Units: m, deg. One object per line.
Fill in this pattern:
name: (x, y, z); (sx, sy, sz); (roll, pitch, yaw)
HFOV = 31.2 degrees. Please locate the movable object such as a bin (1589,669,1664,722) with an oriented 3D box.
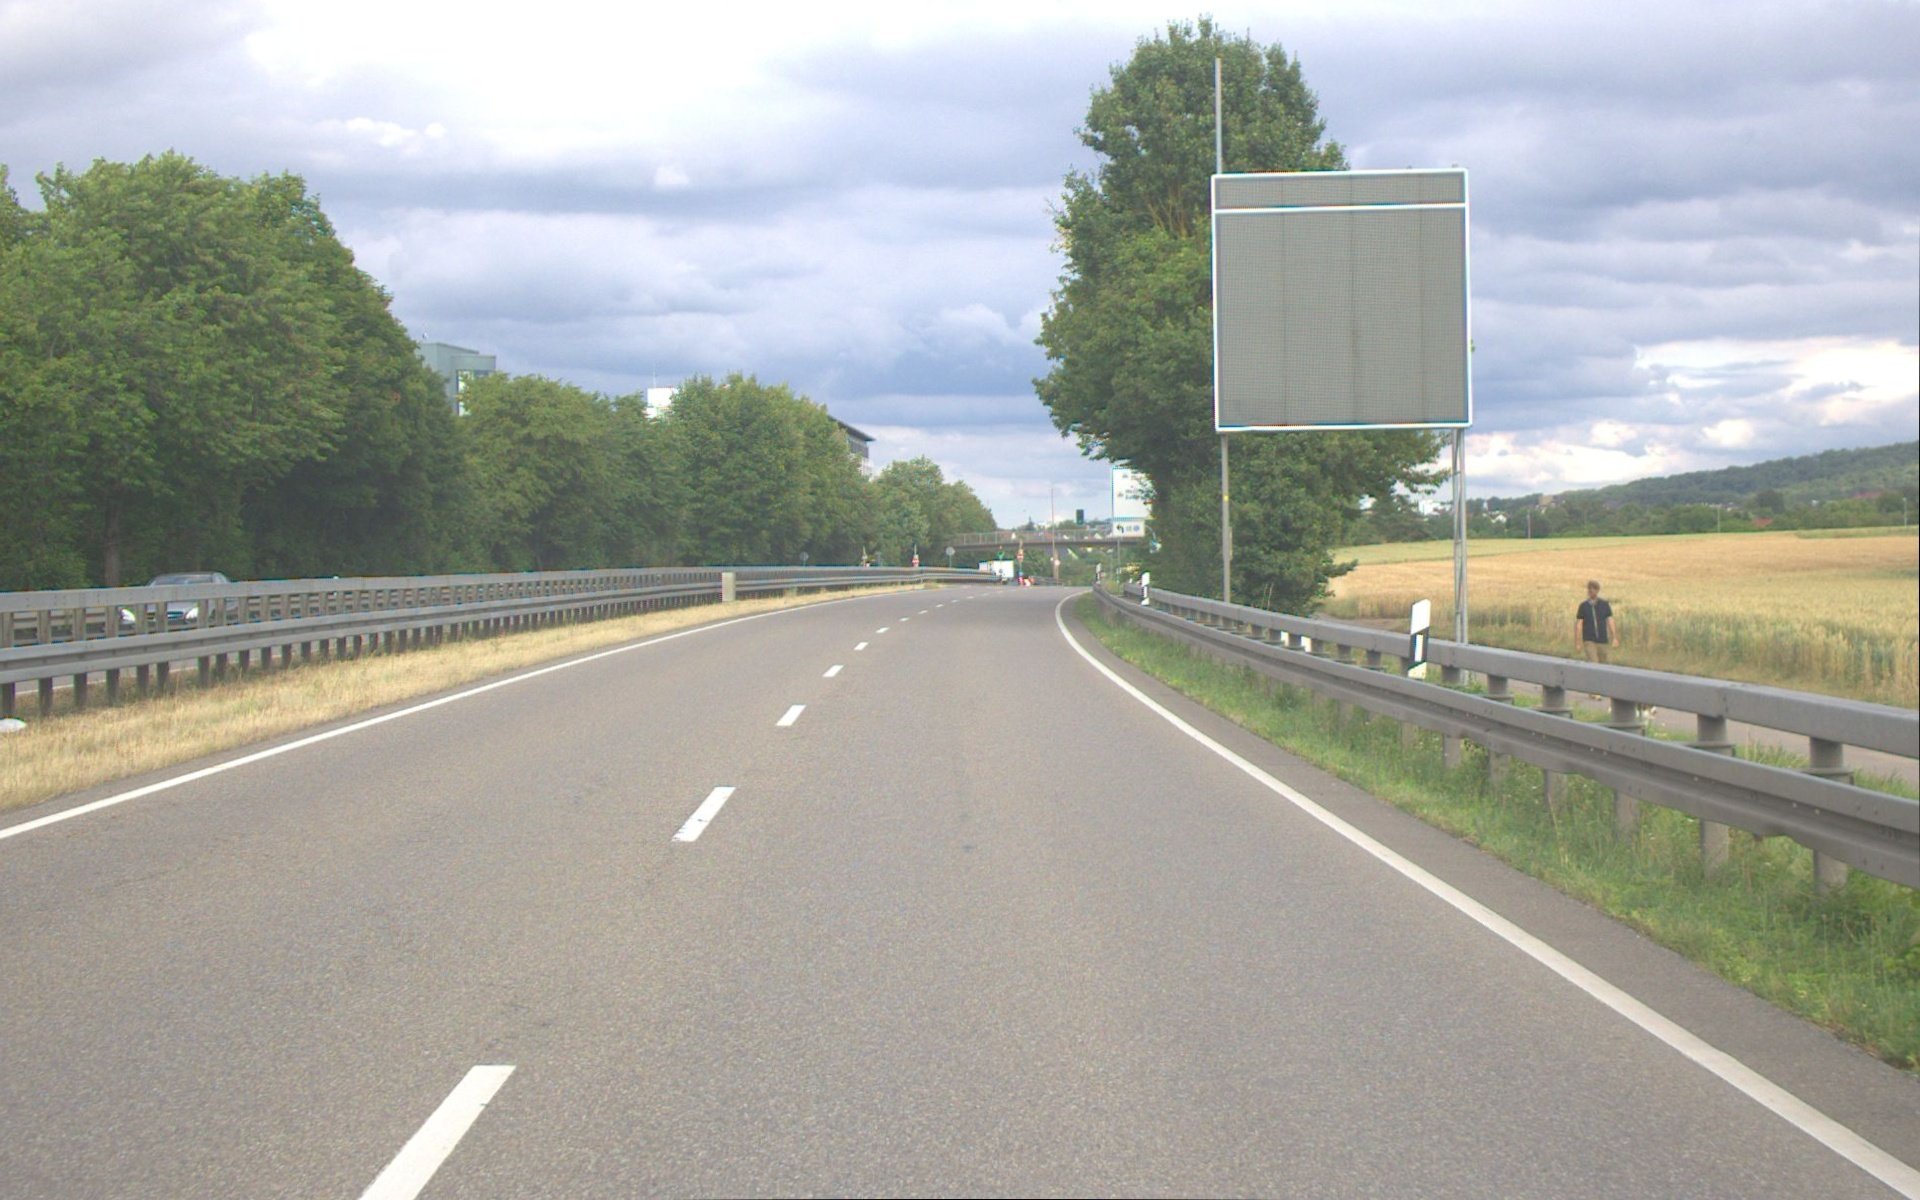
movable object such as a bin: (8.834, 1.260, 45.603); (0.732, 0.643, 1.235); (1, 0, 0)

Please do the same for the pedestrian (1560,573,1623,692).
pedestrian: (10.009, 0.509, 54.481); (0.771, 1.861, 0.940); (1, 0, 0)

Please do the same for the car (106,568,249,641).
car: (-15.377, 0.066, 67.774); (1.781, 1.347, 4.577); (-1, 1, 0)
